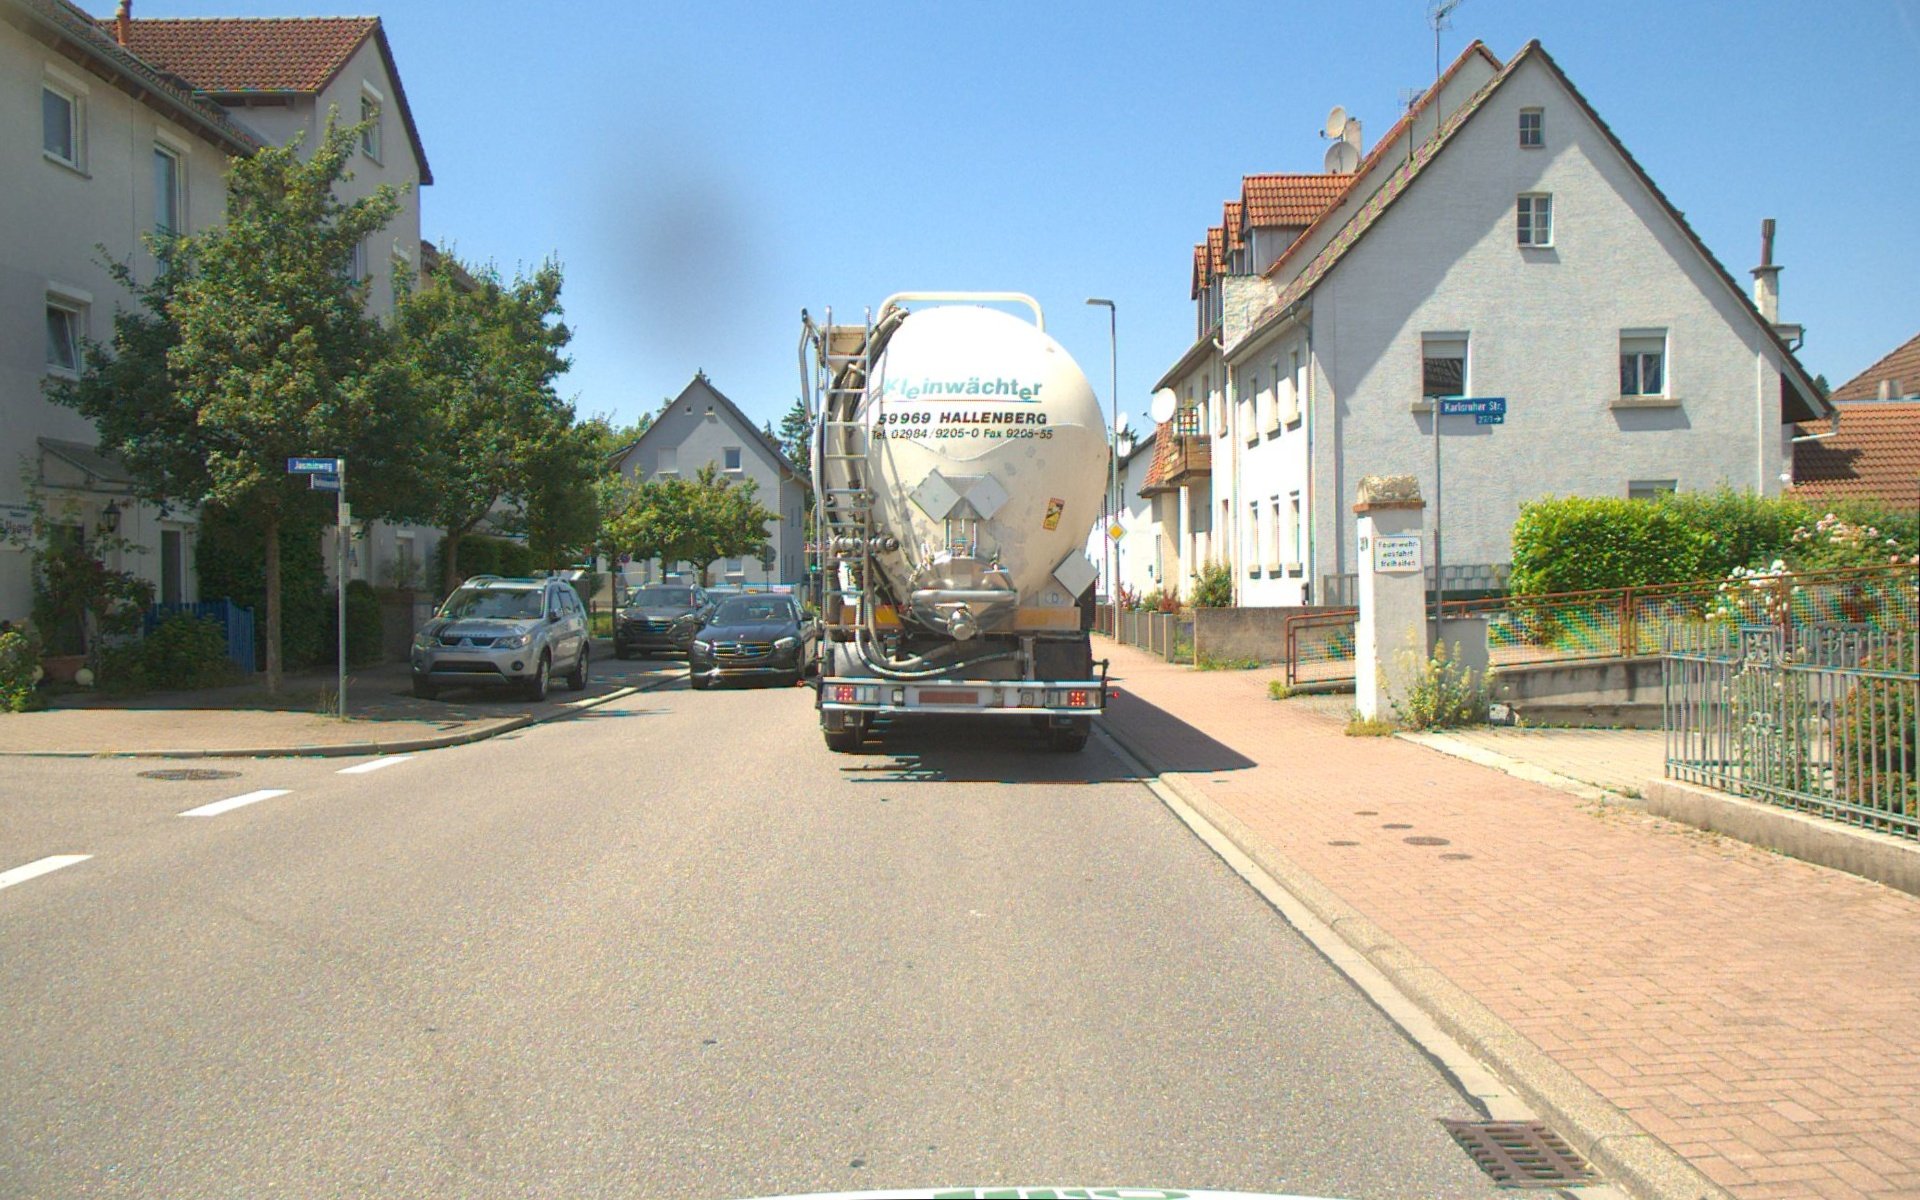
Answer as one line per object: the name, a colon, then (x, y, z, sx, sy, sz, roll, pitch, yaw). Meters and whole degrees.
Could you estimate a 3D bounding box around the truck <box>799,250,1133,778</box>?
truck: (-0.091, -0.708, 17.622, 2.588, 4.086, 9.558, 0, 0, -2)

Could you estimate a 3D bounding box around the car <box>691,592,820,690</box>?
car: (-3.398, 0.636, 28.241, 1.695, 1.485, 4.693, -1, 0, -1)

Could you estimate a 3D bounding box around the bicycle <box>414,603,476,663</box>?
bicycle: (-9.707, 0.607, 31.240, 0.658, 1.074, 2.024, 1, 0, -4)

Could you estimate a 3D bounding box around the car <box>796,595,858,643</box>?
car: (-4.268, 0.583, 53.655, 1.671, 1.394, 3.868, -3, 0, -1)

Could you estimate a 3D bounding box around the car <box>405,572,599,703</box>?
car: (-6.543, 0.482, 24.133, 1.671, 1.716, 4.524, 0, 0, -2)

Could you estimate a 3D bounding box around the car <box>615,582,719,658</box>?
car: (-6.630, 0.425, 37.804, 1.657, 1.648, 3.997, 0, 0, 0)

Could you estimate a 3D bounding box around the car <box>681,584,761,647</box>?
car: (-6.421, 0.393, 44.687, 1.663, 1.608, 3.837, 0, 0, -1)

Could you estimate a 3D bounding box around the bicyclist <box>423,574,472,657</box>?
bicyclist: (-9.691, 0.291, 31.322, 0.645, 1.520, 0.908, 2, 0, -5)
